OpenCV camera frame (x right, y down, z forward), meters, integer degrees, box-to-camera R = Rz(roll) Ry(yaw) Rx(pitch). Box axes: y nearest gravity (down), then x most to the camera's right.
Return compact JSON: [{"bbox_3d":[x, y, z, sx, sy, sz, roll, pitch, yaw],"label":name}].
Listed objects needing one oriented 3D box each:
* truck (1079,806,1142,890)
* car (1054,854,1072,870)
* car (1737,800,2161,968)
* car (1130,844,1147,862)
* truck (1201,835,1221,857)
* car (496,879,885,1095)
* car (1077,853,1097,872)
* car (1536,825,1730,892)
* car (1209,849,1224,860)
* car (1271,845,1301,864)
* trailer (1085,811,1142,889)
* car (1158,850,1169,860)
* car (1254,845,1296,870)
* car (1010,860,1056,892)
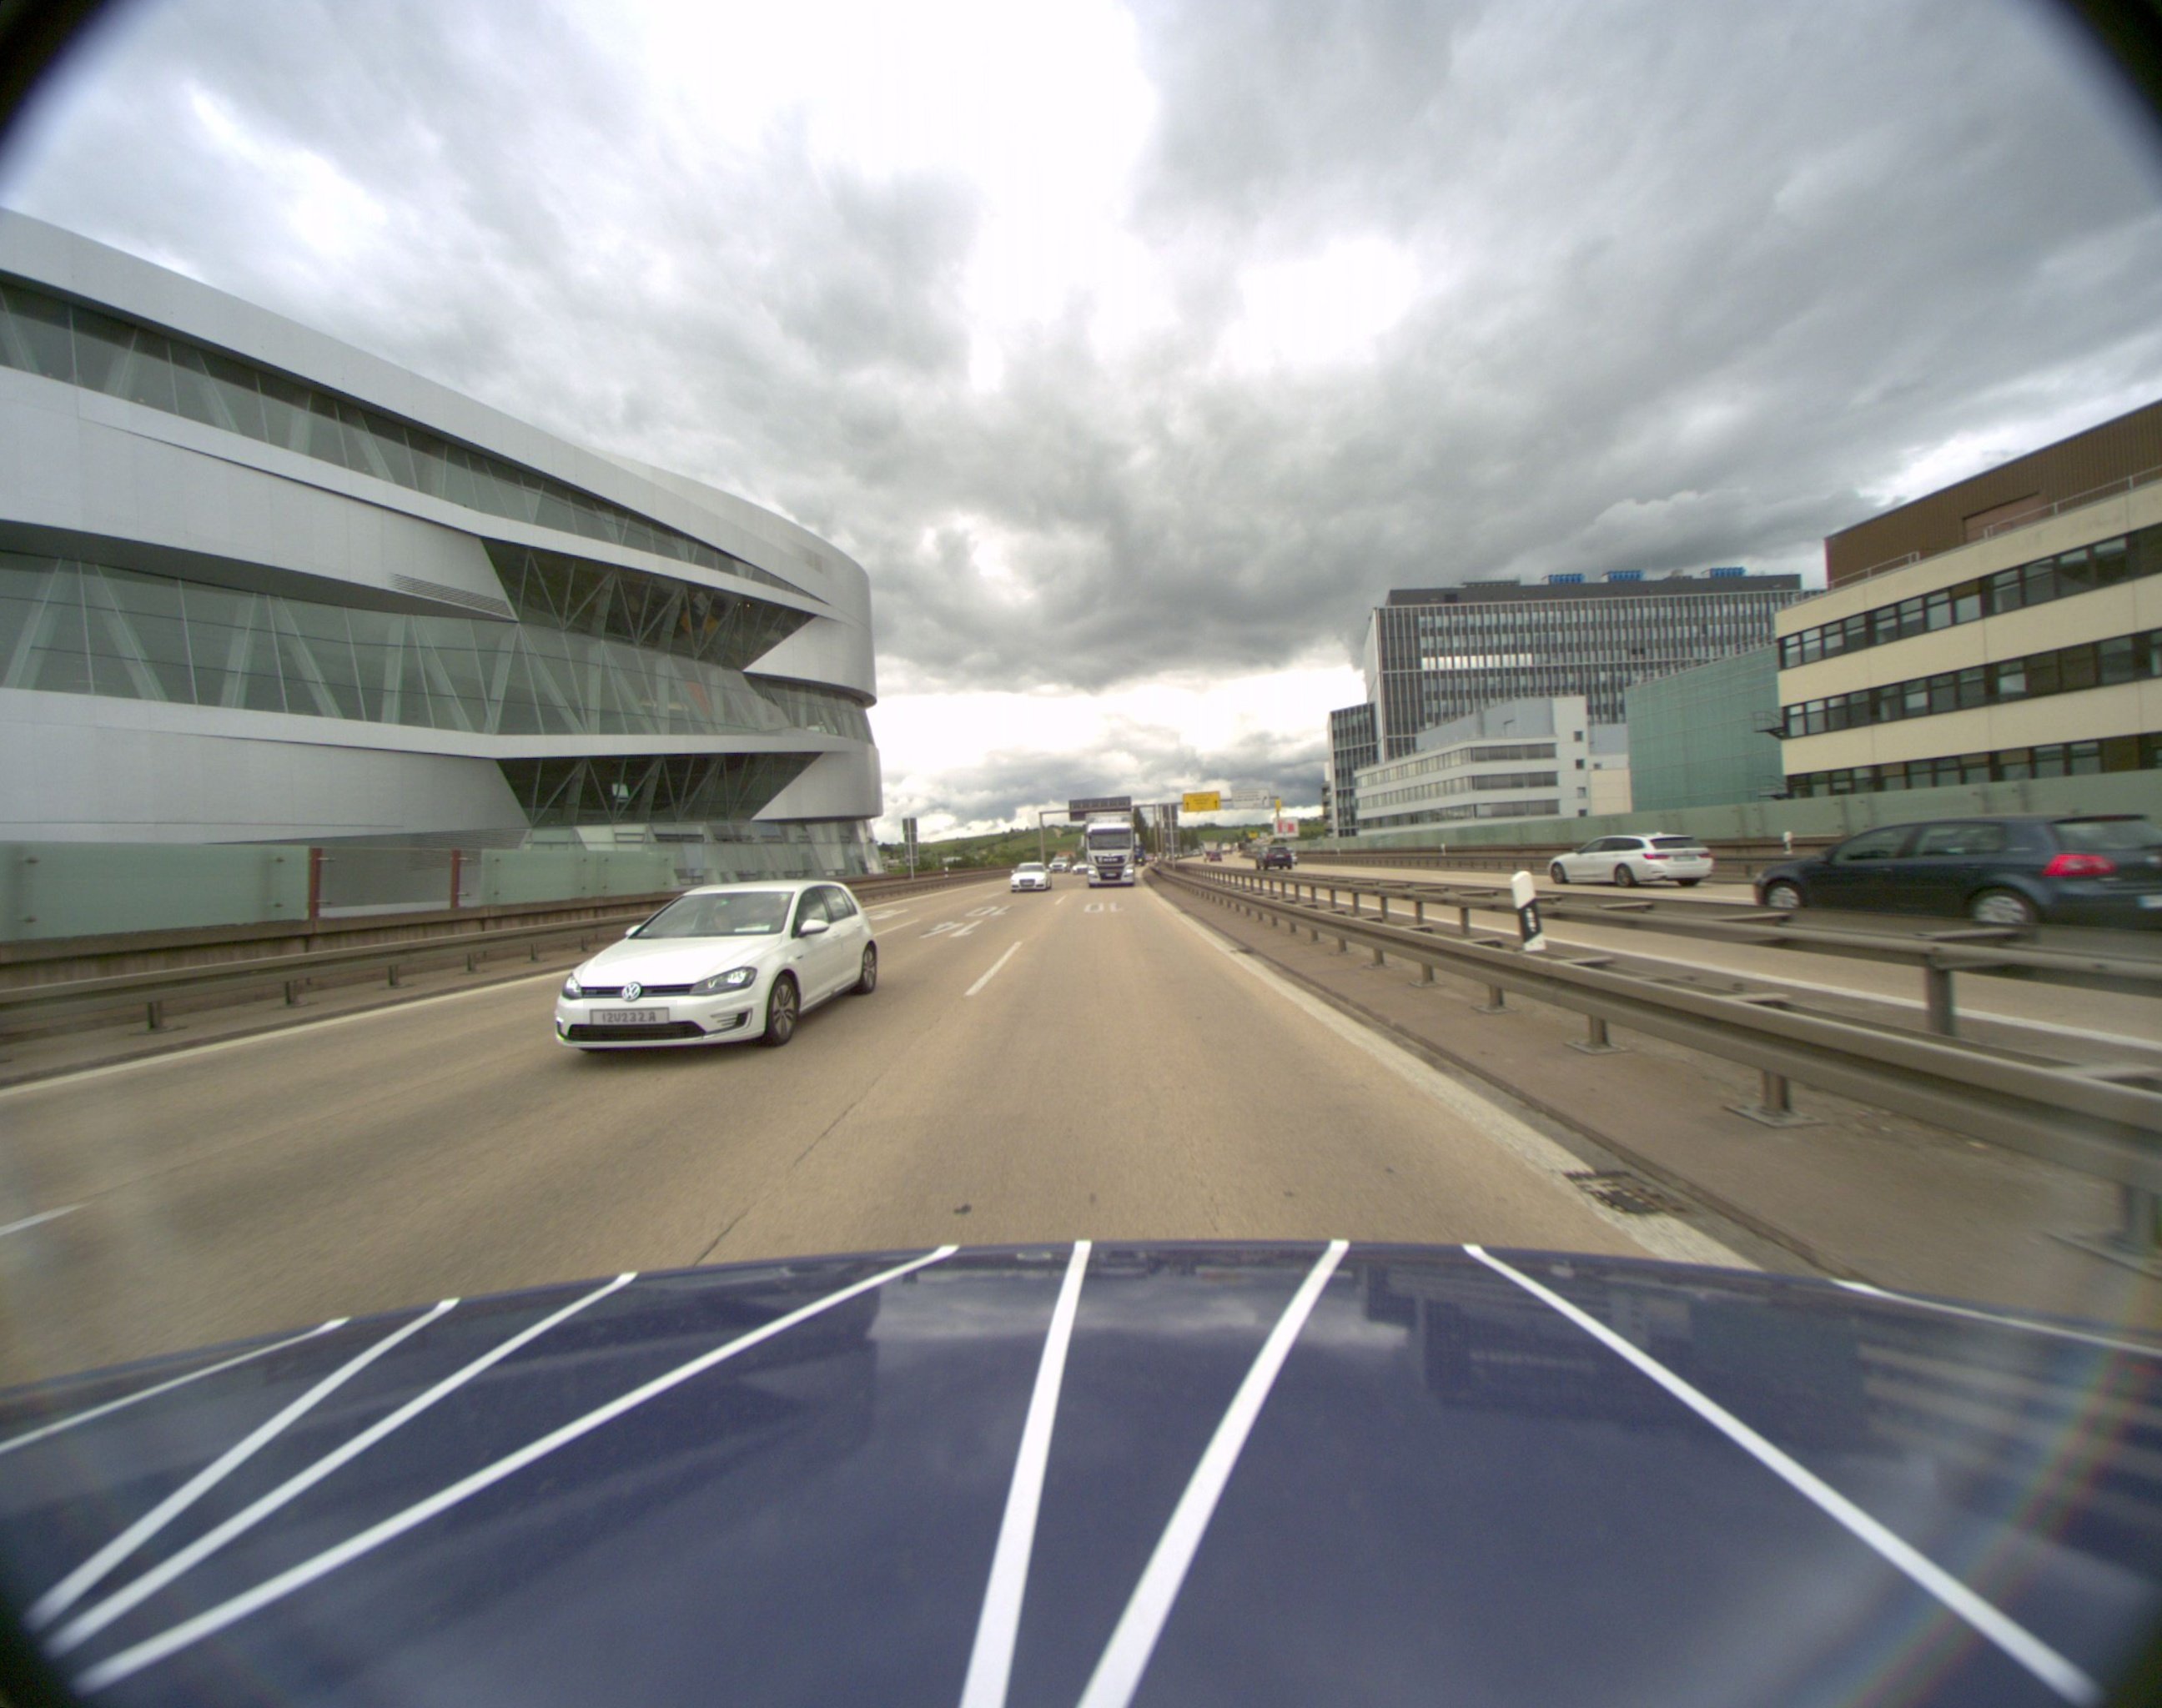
[{"bbox_3d":[1.730,-0.314,41.360,2.945,4.136,6.293,-2,0,5],"label":"truck"},{"bbox_3d":[-1.992,0.853,82.865,1.785,1.624,3.627,-2,0,0],"label":"car"},{"bbox_3d":[11.215,0.264,9.321,2.028,1.602,4.813,-2,0,-2],"label":"car"},{"bbox_3d":[8.055,-0.157,106.170,2.143,2.494,4.525,-2,1,6],"label":"car"},{"bbox_3d":[24.776,-1.433,145.196,3.268,3.836,13.060,-3,0,9],"label":"truck"},{"bbox_3d":[-3.467,1.074,7.755,1.759,1.443,4.072,-2,0,1],"label":"car"},{"bbox_3d":[0.553,0.801,73.301,1.765,1.624,3.627,-2,0,0],"label":"car"},{"bbox_3d":[15.151,0.116,21.279,1.922,1.602,4.814,-2,0,0],"label":"car"},{"bbox_3d":[18.850,0.067,105.879,1.758,1.474,4.093,-2,0,7],"label":"car"},{"bbox_3d":[17.687,0.026,65.751,1.687,1.587,3.685,-2,0,2],"label":"car"},{"bbox_3d":[2.209,-0.228,46.813,2.879,4.104,11.223,-2,0,5],"label":"trailer"},{"bbox_3d":[17.680,0.301,162.352,1.997,2.002,4.002,-2,0,10],"label":"car"},{"bbox_3d":[13.414,0.214,52.776,1.758,1.609,4.815,-2,0,2],"label":"car"},{"bbox_3d":[-2.379,1.096,38.609,1.848,1.443,3.933,-3,0,2],"label":"car"}]
